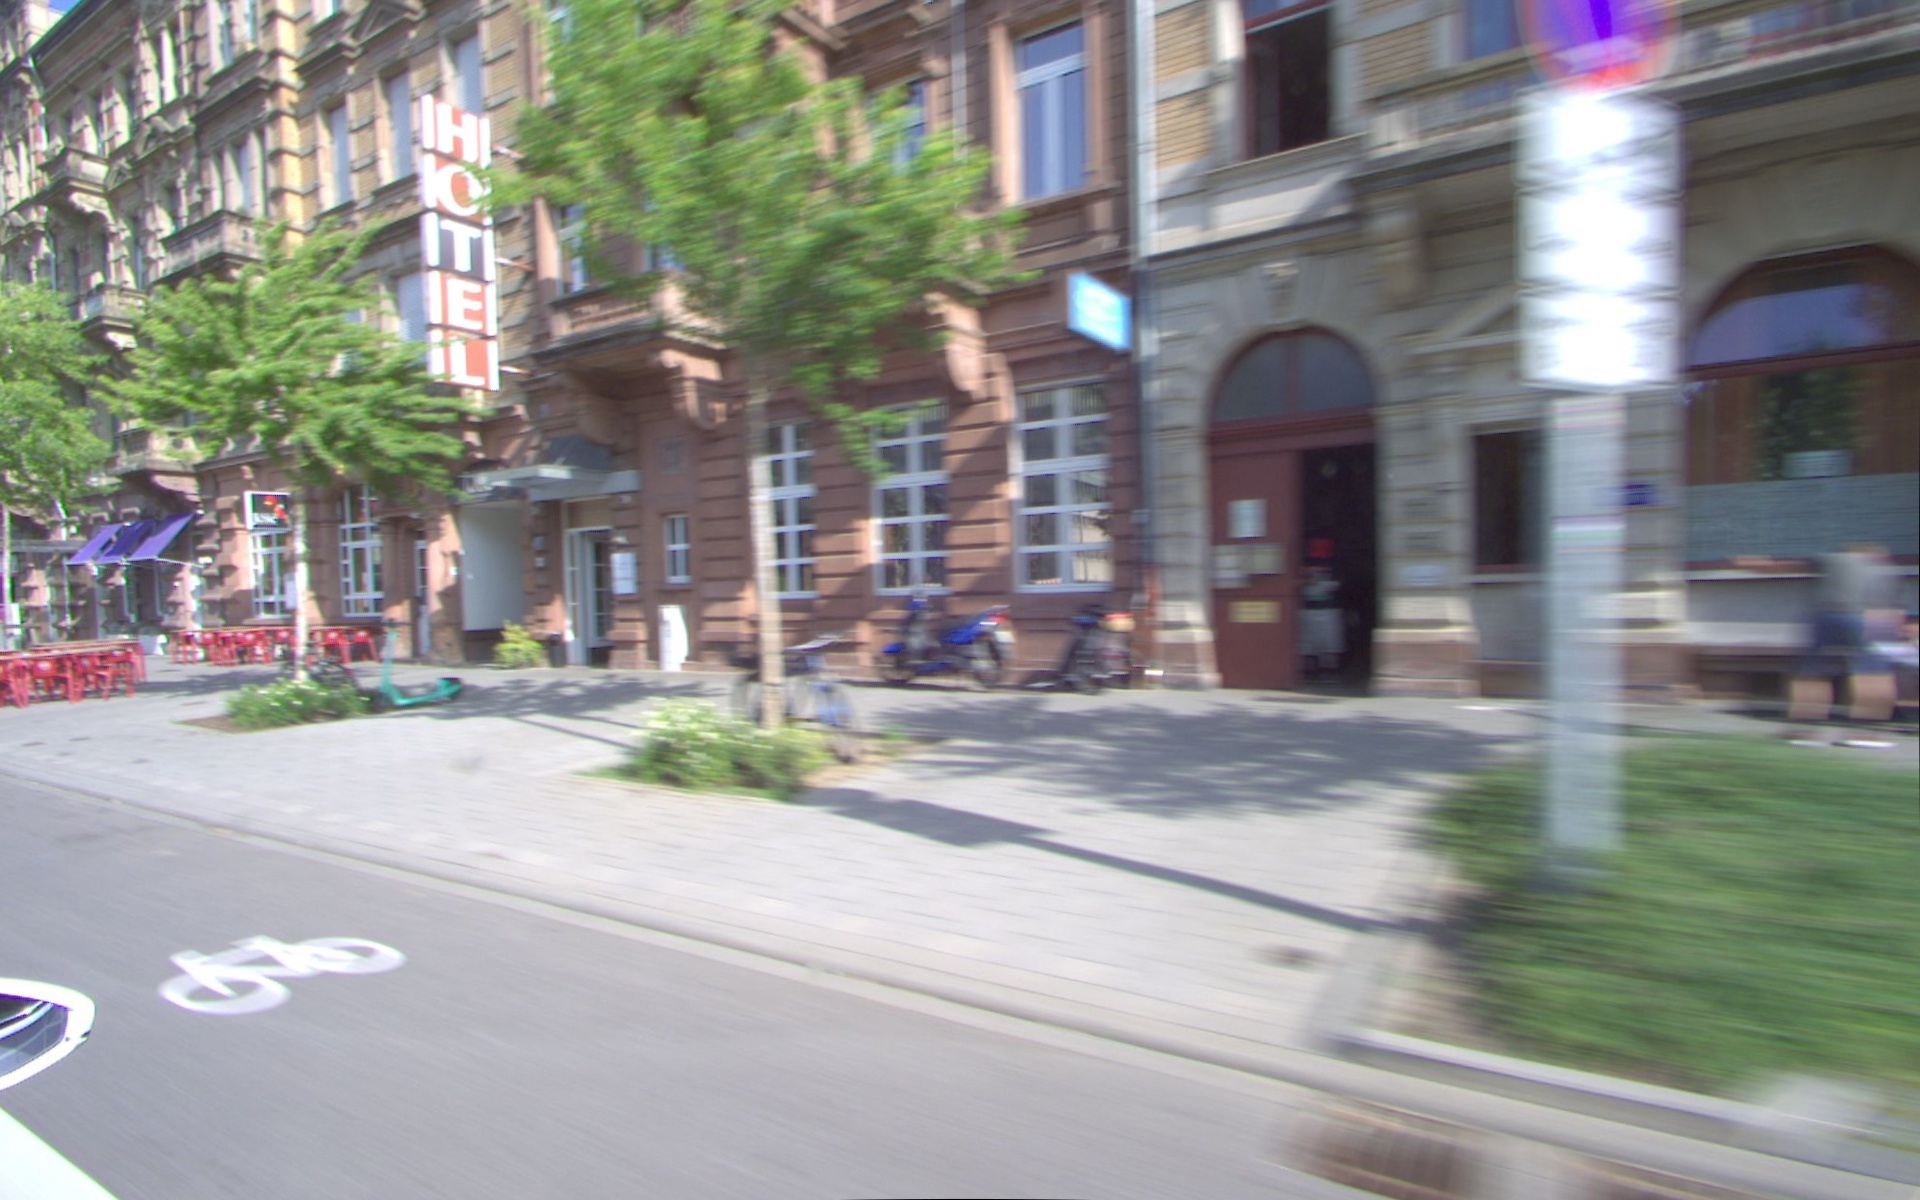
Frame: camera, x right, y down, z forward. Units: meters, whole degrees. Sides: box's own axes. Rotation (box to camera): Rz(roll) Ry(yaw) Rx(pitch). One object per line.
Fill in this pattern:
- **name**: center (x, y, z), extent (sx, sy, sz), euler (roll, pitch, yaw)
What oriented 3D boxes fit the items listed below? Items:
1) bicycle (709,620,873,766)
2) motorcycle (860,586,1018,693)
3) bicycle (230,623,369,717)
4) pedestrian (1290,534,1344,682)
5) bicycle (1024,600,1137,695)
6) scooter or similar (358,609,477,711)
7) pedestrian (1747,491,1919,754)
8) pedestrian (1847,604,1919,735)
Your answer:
- **bicycle**: center (-1.486, 0.740, 8.598), extent (0.501, 1.075, 1.696), euler (-5, 4, -43)
- **motorcycle**: center (-0.270, 0.456, 12.010), extent (1.918, 1.192, 0.462), euler (-1, 3, 33)
- **bicycle**: center (-8.547, 0.882, 12.945), extent (1.895, 1.137, 0.595), euler (-1, 1, 26)
- **pedestrian**: center (4.159, 0.096, 11.659), extent (0.560, 1.680, 0.484), euler (-1, 1, 20)
- **bicycle**: center (1.373, 0.529, 11.488), extent (1.239, 1.032, 0.395), euler (-1, 1, 38)
- **scooter or similar**: center (-6.946, 0.747, 12.871), extent (0.335, 1.173, 1.251), euler (0, 4, 36)
- **pedestrian**: center (6.139, 0.137, 7.054), extent (0.781, 1.720, 0.821), euler (-1, 3, 28)
- **pedestrian**: center (7.220, 0.501, 7.476), extent (0.700, 0.889, 0.876), euler (-1, 3, 29)
